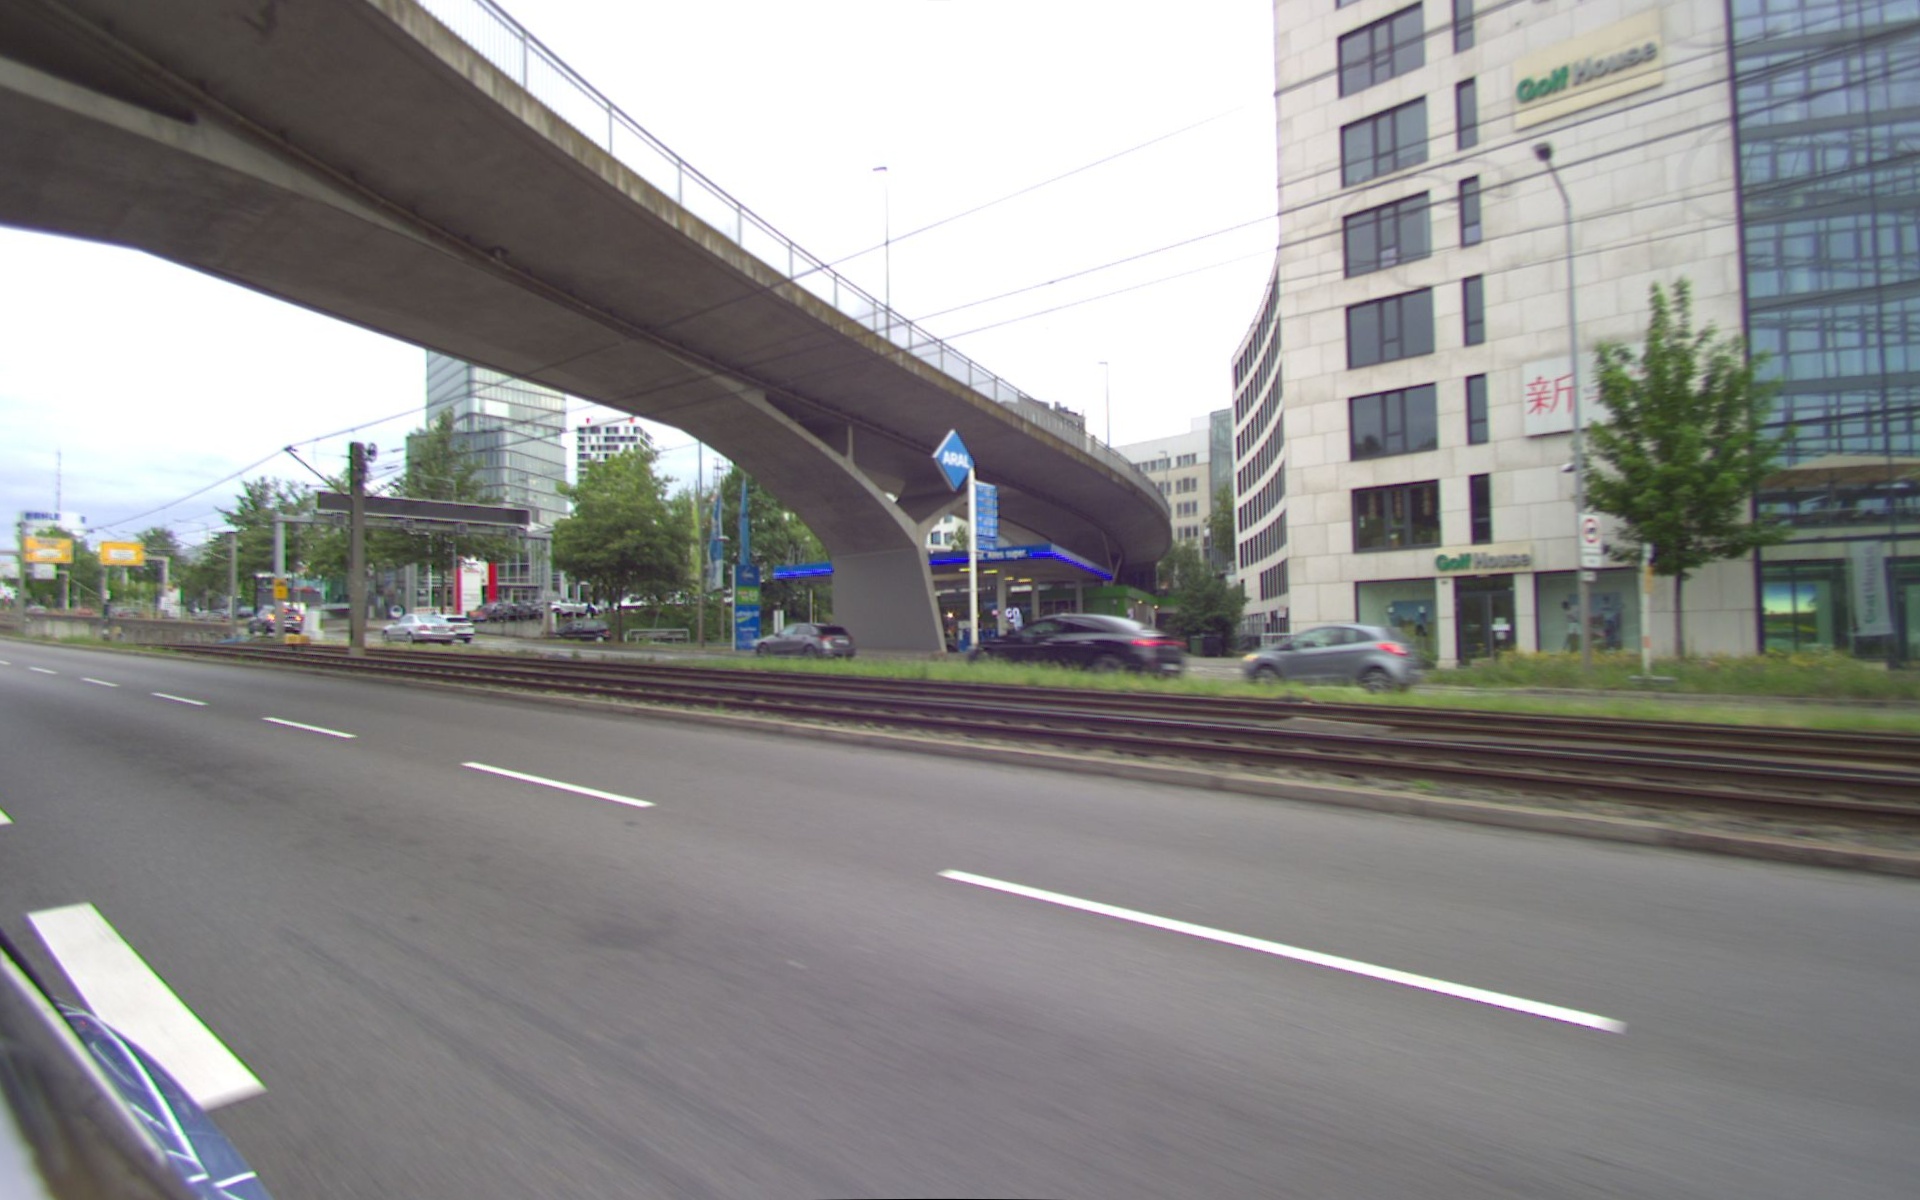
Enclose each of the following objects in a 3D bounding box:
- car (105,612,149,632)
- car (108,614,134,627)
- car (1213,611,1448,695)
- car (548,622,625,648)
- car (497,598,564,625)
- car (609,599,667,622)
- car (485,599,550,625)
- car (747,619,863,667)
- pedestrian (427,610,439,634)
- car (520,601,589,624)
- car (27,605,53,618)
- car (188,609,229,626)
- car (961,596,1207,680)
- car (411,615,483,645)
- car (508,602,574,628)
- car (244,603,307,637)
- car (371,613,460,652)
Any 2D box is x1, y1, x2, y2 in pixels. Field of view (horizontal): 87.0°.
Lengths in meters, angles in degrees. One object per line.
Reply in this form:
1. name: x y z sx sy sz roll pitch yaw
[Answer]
1. car: -70.431 1.864 85.563 4.755 1.550 2.027 -2 0 39
2. car: -96.929 2.357 116.933 4.111 1.319 1.747 1 1 43
3. car: 7.707 1.055 21.269 4.271 1.545 1.792 -2 0 40
4. car: -23.954 2.214 64.954 4.294 1.515 1.890 -1 1 -33
5. car: -33.035 0.867 77.900 1.886 1.962 4.304 1 1 44
6. car: -27.138 0.870 85.298 1.886 1.828 4.304 1 1 44
7. car: -34.795 0.909 79.583 1.886 1.962 4.304 1 1 44
8. car: -5.689 1.534 36.789 4.490 1.610 1.745 -2 0 42
9. pedestrian: -41.529 1.714 79.733 0.636 1.809 0.679 0 1 42
10. car: -29.805 0.904 74.418 1.886 1.515 4.304 1 1 44
11. car: -107.894 1.365 118.680 4.874 1.411 1.770 1 1 42
12. car: -71.190 1.653 95.841 4.563 1.540 2.027 -2 0 40
13. car: 2.457 0.746 20.978 4.866 1.545 1.791 -2 0 40
14. car: -27.881 1.620 54.951 4.656 1.509 1.899 -2 -4 43
15. car: -31.311 1.070 75.681 1.886 1.785 4.140 1 1 44
16. car: -39.202 1.148 57.900 4.221 1.790 1.901 -2 0 40
17. car: -23.919 1.414 44.367 4.787 1.610 1.746 -2 0 40
